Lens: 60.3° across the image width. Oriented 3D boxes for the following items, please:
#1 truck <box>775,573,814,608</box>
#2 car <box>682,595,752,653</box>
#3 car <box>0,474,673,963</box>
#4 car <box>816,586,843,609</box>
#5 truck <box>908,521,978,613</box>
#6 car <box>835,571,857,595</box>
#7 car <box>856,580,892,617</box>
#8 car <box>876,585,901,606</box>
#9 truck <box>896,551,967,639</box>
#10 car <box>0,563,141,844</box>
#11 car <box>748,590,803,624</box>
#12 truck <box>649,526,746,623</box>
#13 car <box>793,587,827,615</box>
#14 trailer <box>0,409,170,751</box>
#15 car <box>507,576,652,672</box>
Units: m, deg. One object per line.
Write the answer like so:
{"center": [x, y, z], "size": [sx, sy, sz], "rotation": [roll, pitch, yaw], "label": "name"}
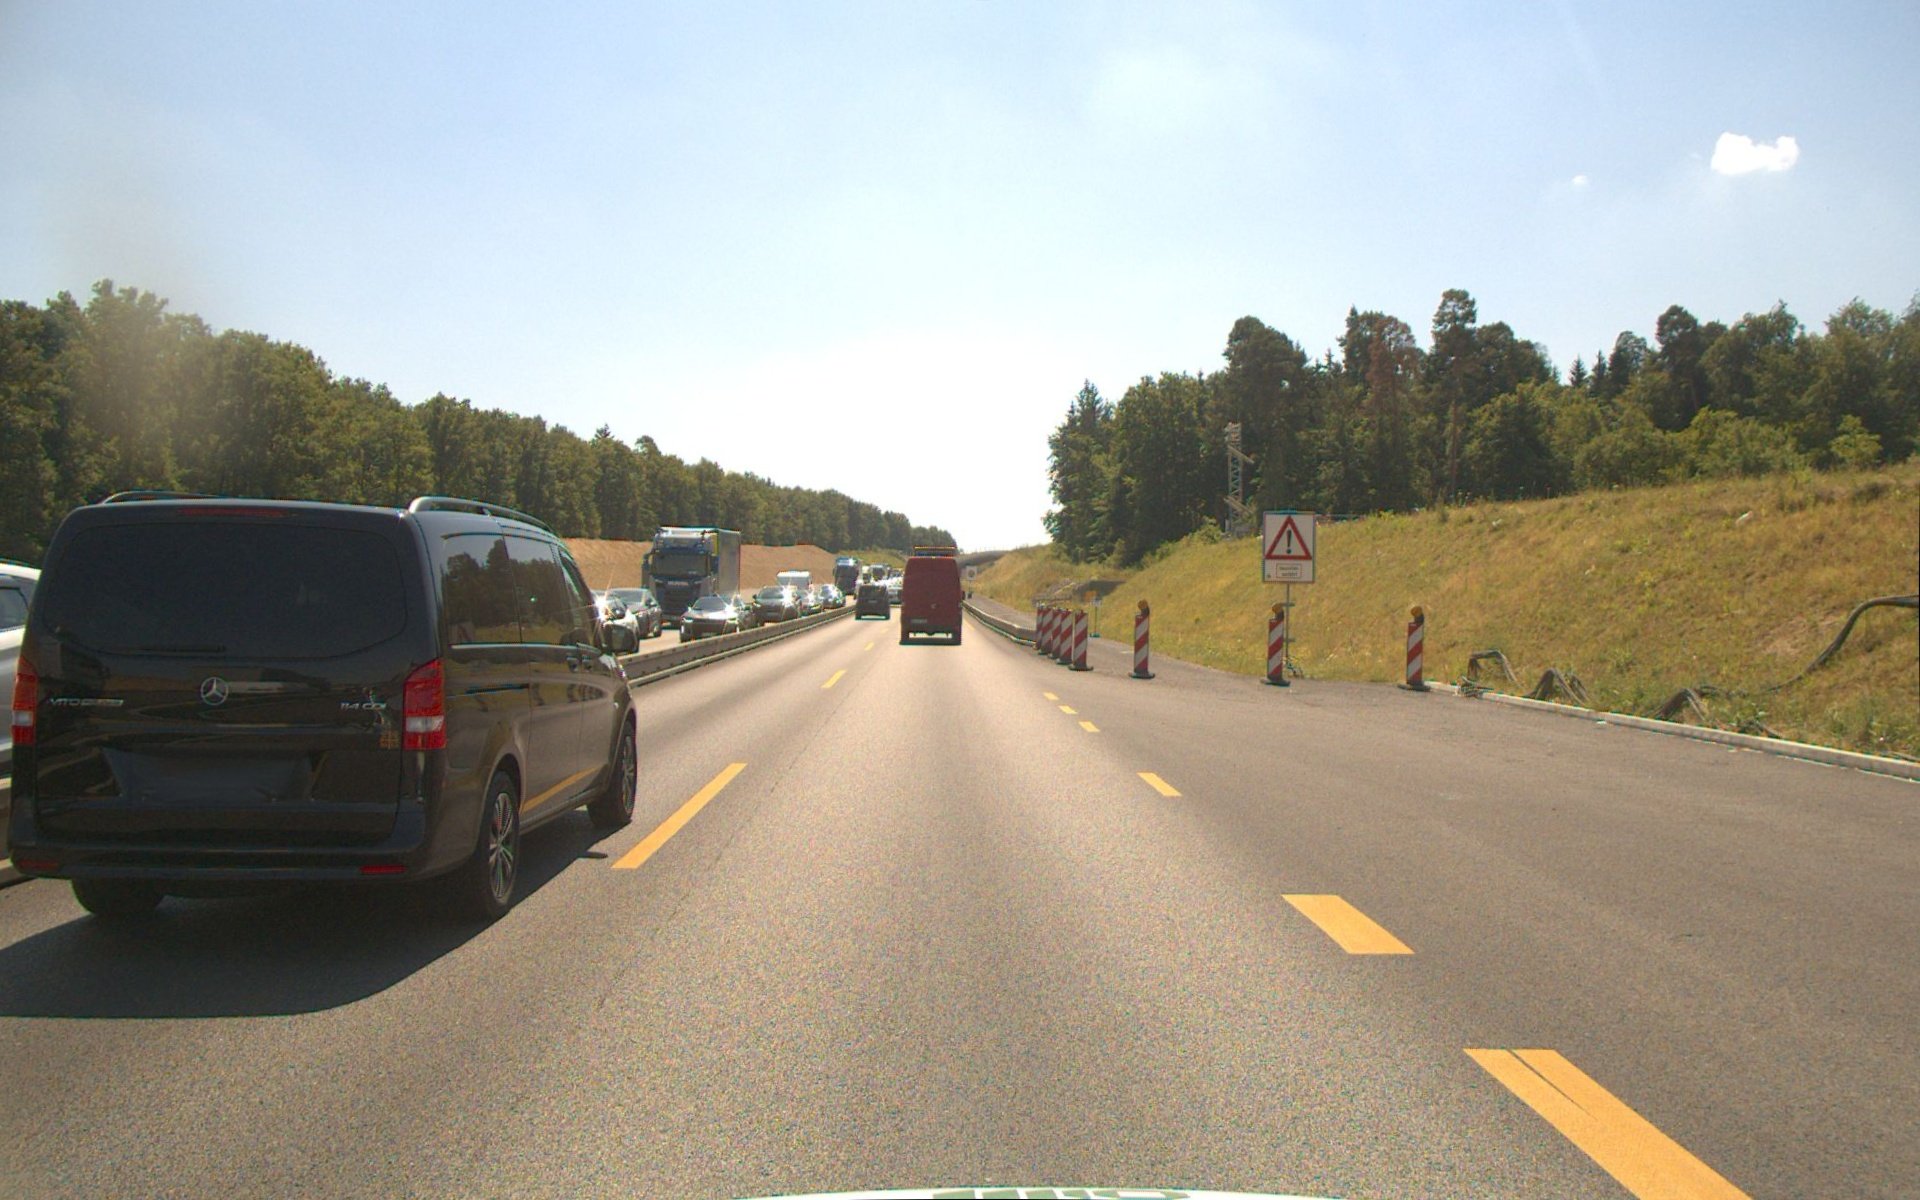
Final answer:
{"center": [-12.125, -0.697, 121.622], "size": [2.351, 2.399, 5.226], "rotation": [1, -1, 0], "label": "truck"}
{"center": [-7.247, 0.720, 49.510], "size": [1.649, 1.624, 3.223], "rotation": [1, -1, -1], "label": "car"}
{"center": [-2.975, 0.481, 9.240], "size": [1.836, 1.883, 5.477], "rotation": [1, 0, -1], "label": "car"}
{"center": [-8.468, -0.146, 107.408], "size": [1.434, 1.351, 3.371], "rotation": [1, -1, 0], "label": "car"}
{"center": [-1.208, -2.004, 113.033], "size": [4.311, 5.592, 16.598], "rotation": [1, -1, -1], "label": "truck"}
{"center": [-12.917, -1.894, 187.466], "size": [2.337, 2.625, 3.998], "rotation": [1, -1, -2], "label": "car"}
{"center": [-4.535, -0.069, 87.773], "size": [1.716, 1.856, 4.781], "rotation": [1, 0, -1], "label": "car"}
{"center": [-5.456, -0.340, 127.355], "size": [1.794, 1.549, 3.960], "rotation": [1, -1, -1], "label": "car"}
{"center": [-0.940, -0.116, 53.337], "size": [2.109, 2.635, 5.331], "rotation": [1, -1, -2], "label": "truck"}
{"center": [-6.476, 0.585, 9.256], "size": [1.690, 1.659, 4.389], "rotation": [1, -1, -2], "label": "car"}
{"center": [-7.615, 0.306, 68.693], "size": [1.803, 1.351, 3.941], "rotation": [1, -1, 0], "label": "car"}
{"center": [-10.800, -0.922, 68.879], "size": [2.457, 3.680, 9.639], "rotation": [1, -1, 0], "label": "truck"}
{"center": [-7.766, 0.056, 85.972], "size": [1.434, 1.351, 3.371], "rotation": [1, -1, 0], "label": "car"}
{"center": [-9.519, -0.220, 9.848], "size": [2.299, 2.983, 15.268], "rotation": [1, 0, 0], "label": "trailer"}
{"center": [-6.753, 0.435, 29.772], "size": [1.591, 1.584, 4.068], "rotation": [1, -1, 1], "label": "car"}
